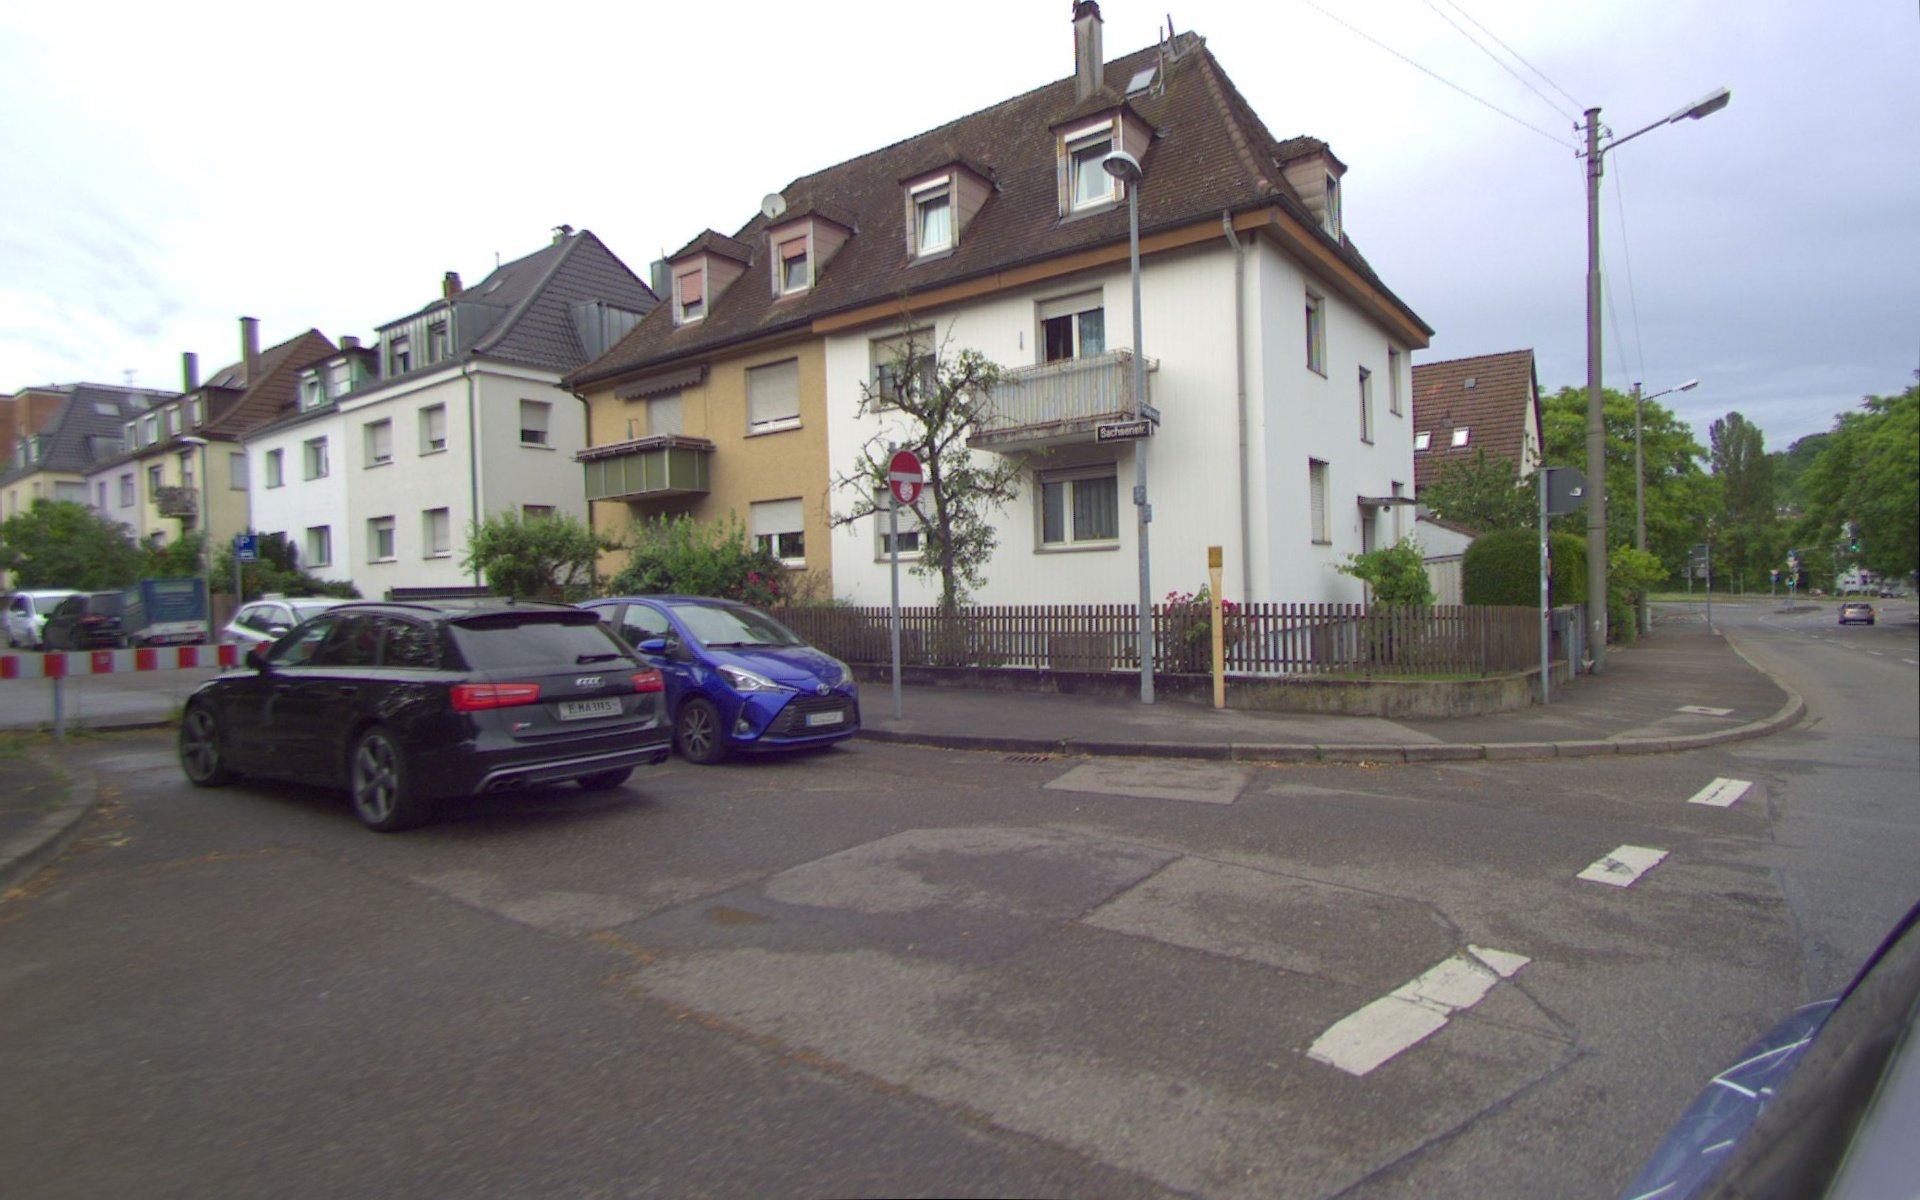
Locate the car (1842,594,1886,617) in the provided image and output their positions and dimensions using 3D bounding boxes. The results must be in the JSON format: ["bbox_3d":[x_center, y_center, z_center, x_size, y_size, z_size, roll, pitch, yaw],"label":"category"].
[{"bbox_3d":[59.518,0.334,66.648,1.663,1.487,3.733,0,0,34],"label":"car"}]

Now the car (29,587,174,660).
[{"bbox_3d":[-23.890,0.609,28.128,4.548,1.862,1.975,0,0,35],"label":"car"}]

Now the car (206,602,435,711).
[{"bbox_3d":[-9.849,0.782,15.517,3.762,1.472,1.749,-1,-1,37],"label":"car"}]

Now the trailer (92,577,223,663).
[{"bbox_3d":[-20.546,0.485,25.893,3.465,2.039,1.652,0,-1,33],"label":"trailer"}]

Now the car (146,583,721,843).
[{"bbox_3d":[-4.256,0.640,7.924,4.781,1.499,1.864,0,0,32],"label":"car"}]

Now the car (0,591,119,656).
[{"bbox_3d":[-28.106,0.694,31.386,4.548,1.862,1.975,0,0,35],"label":"car"}]

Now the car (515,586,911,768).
[{"bbox_3d":[-2.636,0.624,10.341,4.106,1.499,1.859,0,0,39],"label":"car"}]
